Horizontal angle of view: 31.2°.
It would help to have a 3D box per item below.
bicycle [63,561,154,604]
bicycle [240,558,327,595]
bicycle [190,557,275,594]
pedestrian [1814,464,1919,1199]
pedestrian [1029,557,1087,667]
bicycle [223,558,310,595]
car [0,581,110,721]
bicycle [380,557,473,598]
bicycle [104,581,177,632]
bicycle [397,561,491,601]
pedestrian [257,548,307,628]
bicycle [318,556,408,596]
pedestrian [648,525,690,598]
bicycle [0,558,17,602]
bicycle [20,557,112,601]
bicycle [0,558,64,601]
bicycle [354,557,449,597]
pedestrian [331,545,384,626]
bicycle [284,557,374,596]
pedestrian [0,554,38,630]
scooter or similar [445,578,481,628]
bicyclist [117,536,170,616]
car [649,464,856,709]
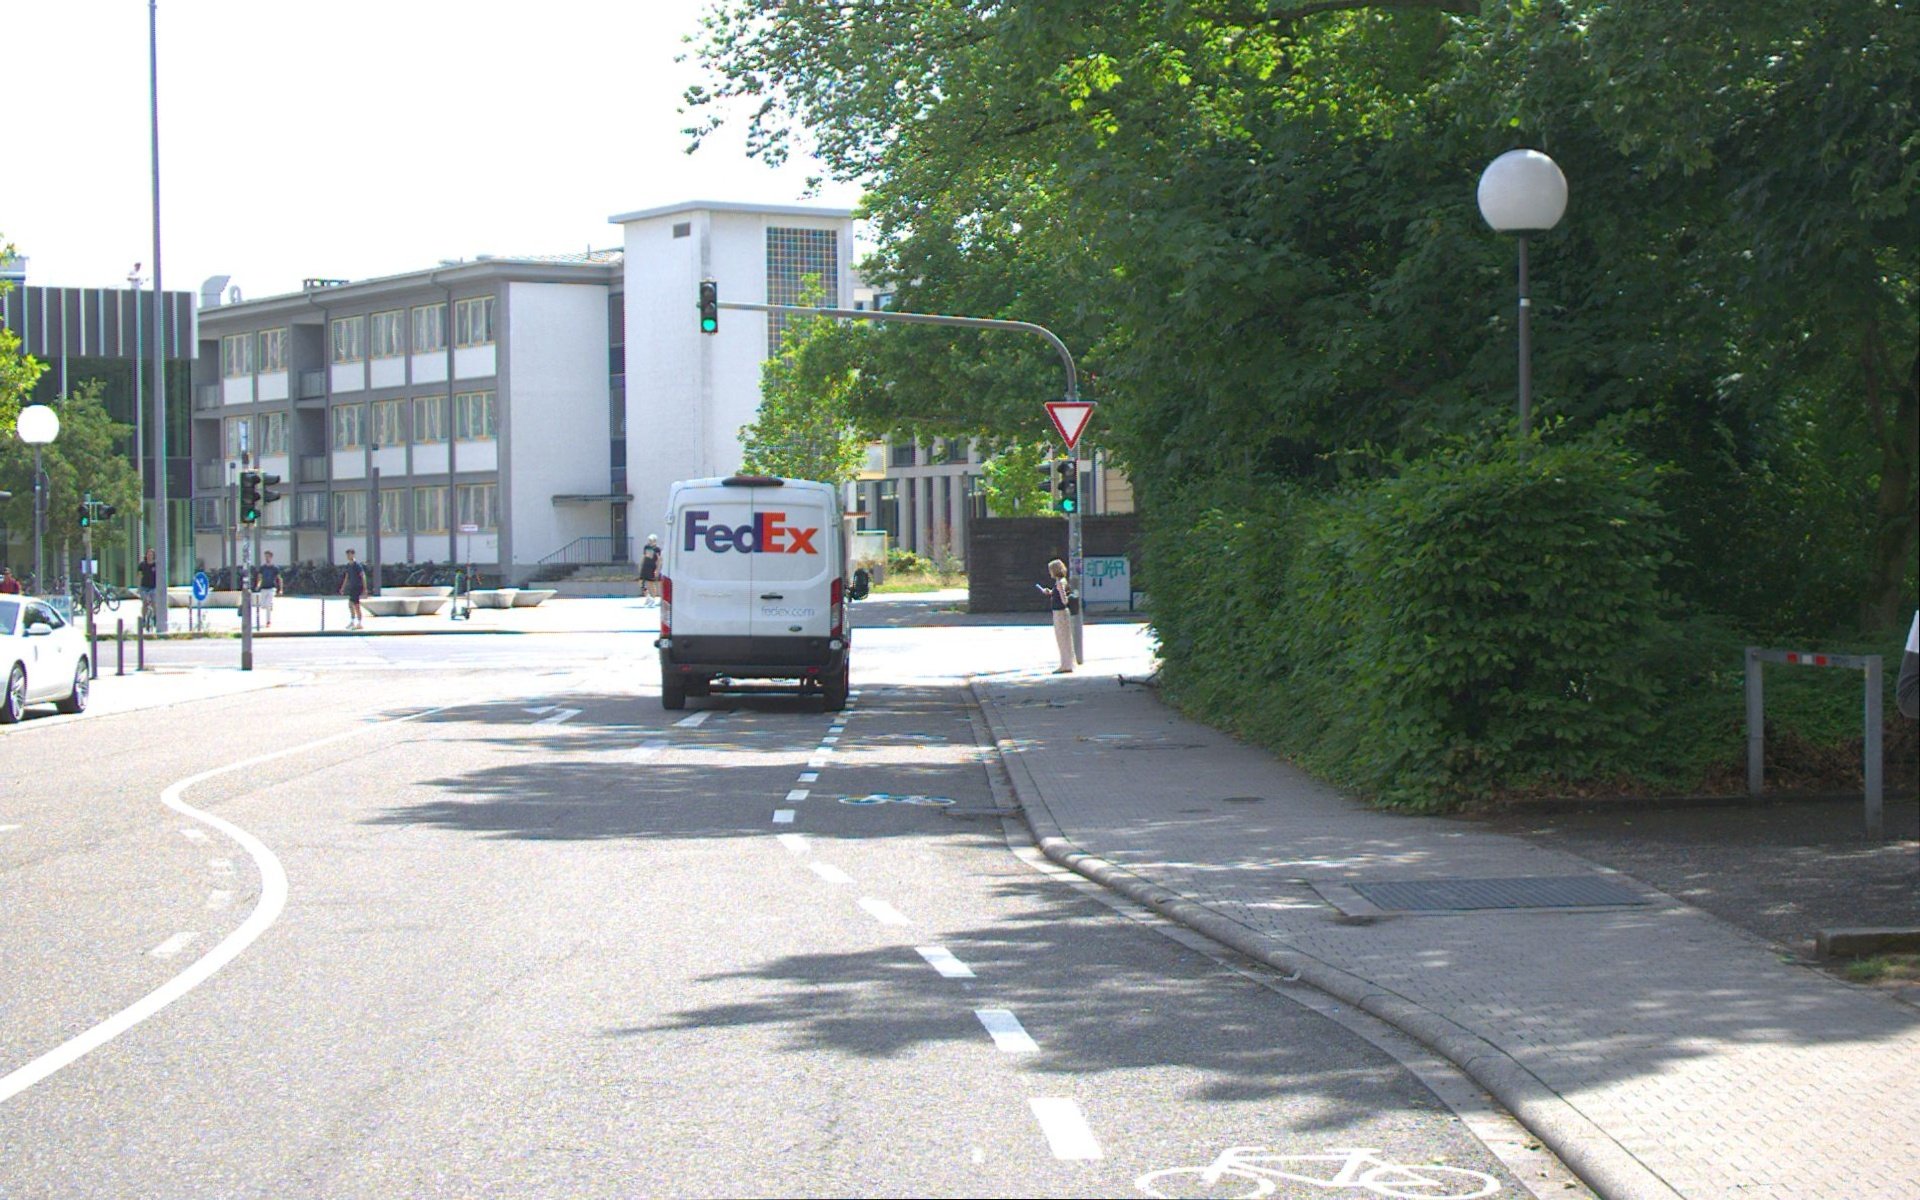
[{"bbox_3d":[-24.742,-0.515,99.866,2.949,1.233,1.198,1,1,44],"label":"bicycle"},{"bbox_3d":[-24.732,-0.866,125.702,2.956,1.359,1.117,0,1,-38],"label":"bicycle"},{"bbox_3d":[-27.529,-0.931,130.197,2.956,1.359,1.117,0,1,-38],"label":"bicycle"},{"bbox_3d":[2.500,0.528,7.790,0.739,1.669,1.257,0,1,-4],"label":"pedestrian"},{"bbox_3d":[1.411,0.167,49.655,0.731,1.570,0.776,1,1,-5],"label":"pedestrian"},{"bbox_3d":[-25.650,-0.883,127.183,2.956,1.359,1.117,0,1,-38],"label":"bicycle"},{"bbox_3d":[-10.836,0.519,38.028,1.676,1.390,4.662,2,1,0],"label":"car"},{"bbox_3d":[-18.182,-0.763,117.254,2.956,1.359,1.117,0,1,-38],"label":"bicycle"},{"bbox_3d":[-18.719,0.139,78.535,0.771,1.118,2.025,-1,1,13],"label":"bicycle"},{"bbox_3d":[-17.427,-0.645,116.158,2.956,1.359,1.117,0,1,-38],"label":"bicycle"},{"bbox_3d":[-16.332,-0.292,82.850,0.703,1.849,1.398,-1,2,9],"label":"pedestrian"},{"bbox_3d":[-20.947,-0.842,120.686,2.956,1.359,1.117,0,1,-38],"label":"bicycle"},{"bbox_3d":[-7.645,-1.015,90.244,0.865,1.883,0.913,-1,1,-20],"label":"pedestrian"},{"bbox_3d":[-27.963,-0.568,97.203,2.949,1.233,1.198,1,1,44],"label":"bicycle"},{"bbox_3d":[-25.710,-0.608,98.855,2.949,1.233,1.198,1,1,44],"label":"bicycle"},{"bbox_3d":[-26.883,-0.591,98.125,2.949,1.233,1.198,1,1,44],"label":"bicycle"},{"bbox_3d":[-19.246,-0.779,118.514,2.956,1.359,1.275,0,1,-38],"label":"bicycle"},{"bbox_3d":[-13.999,-0.345,79.921,1.080,1.864,0.832,-1,1,-2],"label":"pedestrian"},{"bbox_3d":[-22.534,-0.836,122.790,2.956,1.359,1.117,0,1,-38],"label":"bicycle"},{"bbox_3d":[-21.065,-0.187,76.760,0.753,1.672,0.755,-1,1,-1],"label":"pedestrian"},{"bbox_3d":[-12.123,0.054,83.775,0.716,1.174,2.726,-1,1,-11],"label":"scooter or similar"},{"bbox_3d":[-18.683,-0.547,78.656,0.790,1.811,0.999,-1,1,13],"label":"bicyclist"},{"bbox_3d":[-2.271,-0.193,39.031,2.095,2.558,5.603,-1,1,-1],"label":"car"}]
